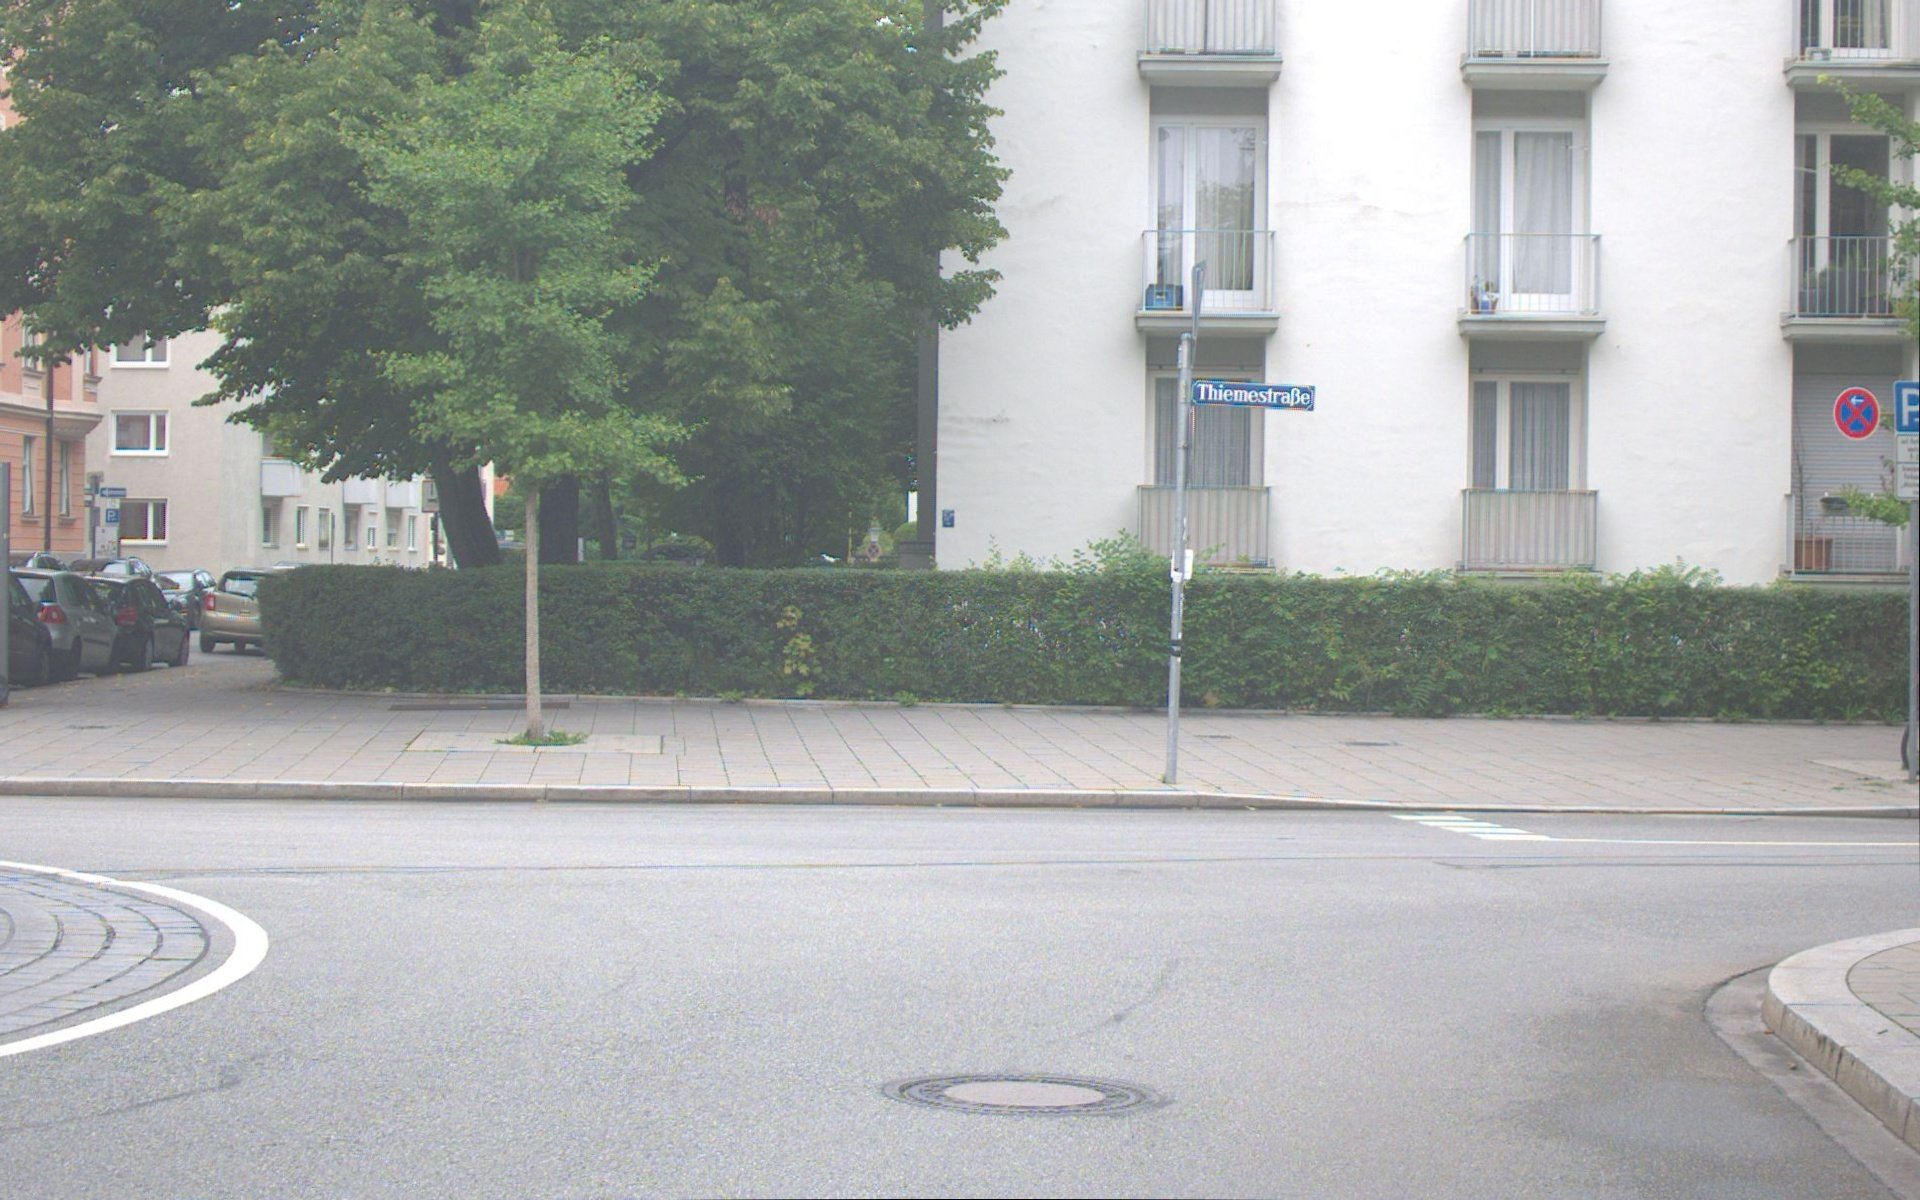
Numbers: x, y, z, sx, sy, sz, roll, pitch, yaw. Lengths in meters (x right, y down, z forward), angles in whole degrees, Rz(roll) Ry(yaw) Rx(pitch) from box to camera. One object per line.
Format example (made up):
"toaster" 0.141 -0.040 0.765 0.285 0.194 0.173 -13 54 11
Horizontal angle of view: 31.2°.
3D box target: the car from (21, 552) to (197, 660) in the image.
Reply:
"car" -12.396 0.063 50.308 1.793 1.500 4.116 0 1 -4

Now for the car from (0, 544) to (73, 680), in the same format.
"car" -11.624 0.117 39.943 1.793 1.500 4.235 0 1 -4

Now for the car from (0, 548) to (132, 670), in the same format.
"car" -11.993 0.091 44.524 1.793 1.500 4.116 0 1 -4

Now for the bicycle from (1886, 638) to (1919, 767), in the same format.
"bicycle" 8.649 0.853 28.490 1.824 1.045 0.492 1 1 -9

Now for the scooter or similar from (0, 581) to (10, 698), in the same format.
"scooter or similar" -9.362 0.355 31.852 0.998 1.085 0.391 1 0 -26

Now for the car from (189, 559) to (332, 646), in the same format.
"car" -12.457 0.025 61.428 1.835 1.500 4.115 0 1 -2

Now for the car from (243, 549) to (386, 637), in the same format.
"car" -12.360 -0.149 66.039 1.835 1.629 4.115 0 1 2
